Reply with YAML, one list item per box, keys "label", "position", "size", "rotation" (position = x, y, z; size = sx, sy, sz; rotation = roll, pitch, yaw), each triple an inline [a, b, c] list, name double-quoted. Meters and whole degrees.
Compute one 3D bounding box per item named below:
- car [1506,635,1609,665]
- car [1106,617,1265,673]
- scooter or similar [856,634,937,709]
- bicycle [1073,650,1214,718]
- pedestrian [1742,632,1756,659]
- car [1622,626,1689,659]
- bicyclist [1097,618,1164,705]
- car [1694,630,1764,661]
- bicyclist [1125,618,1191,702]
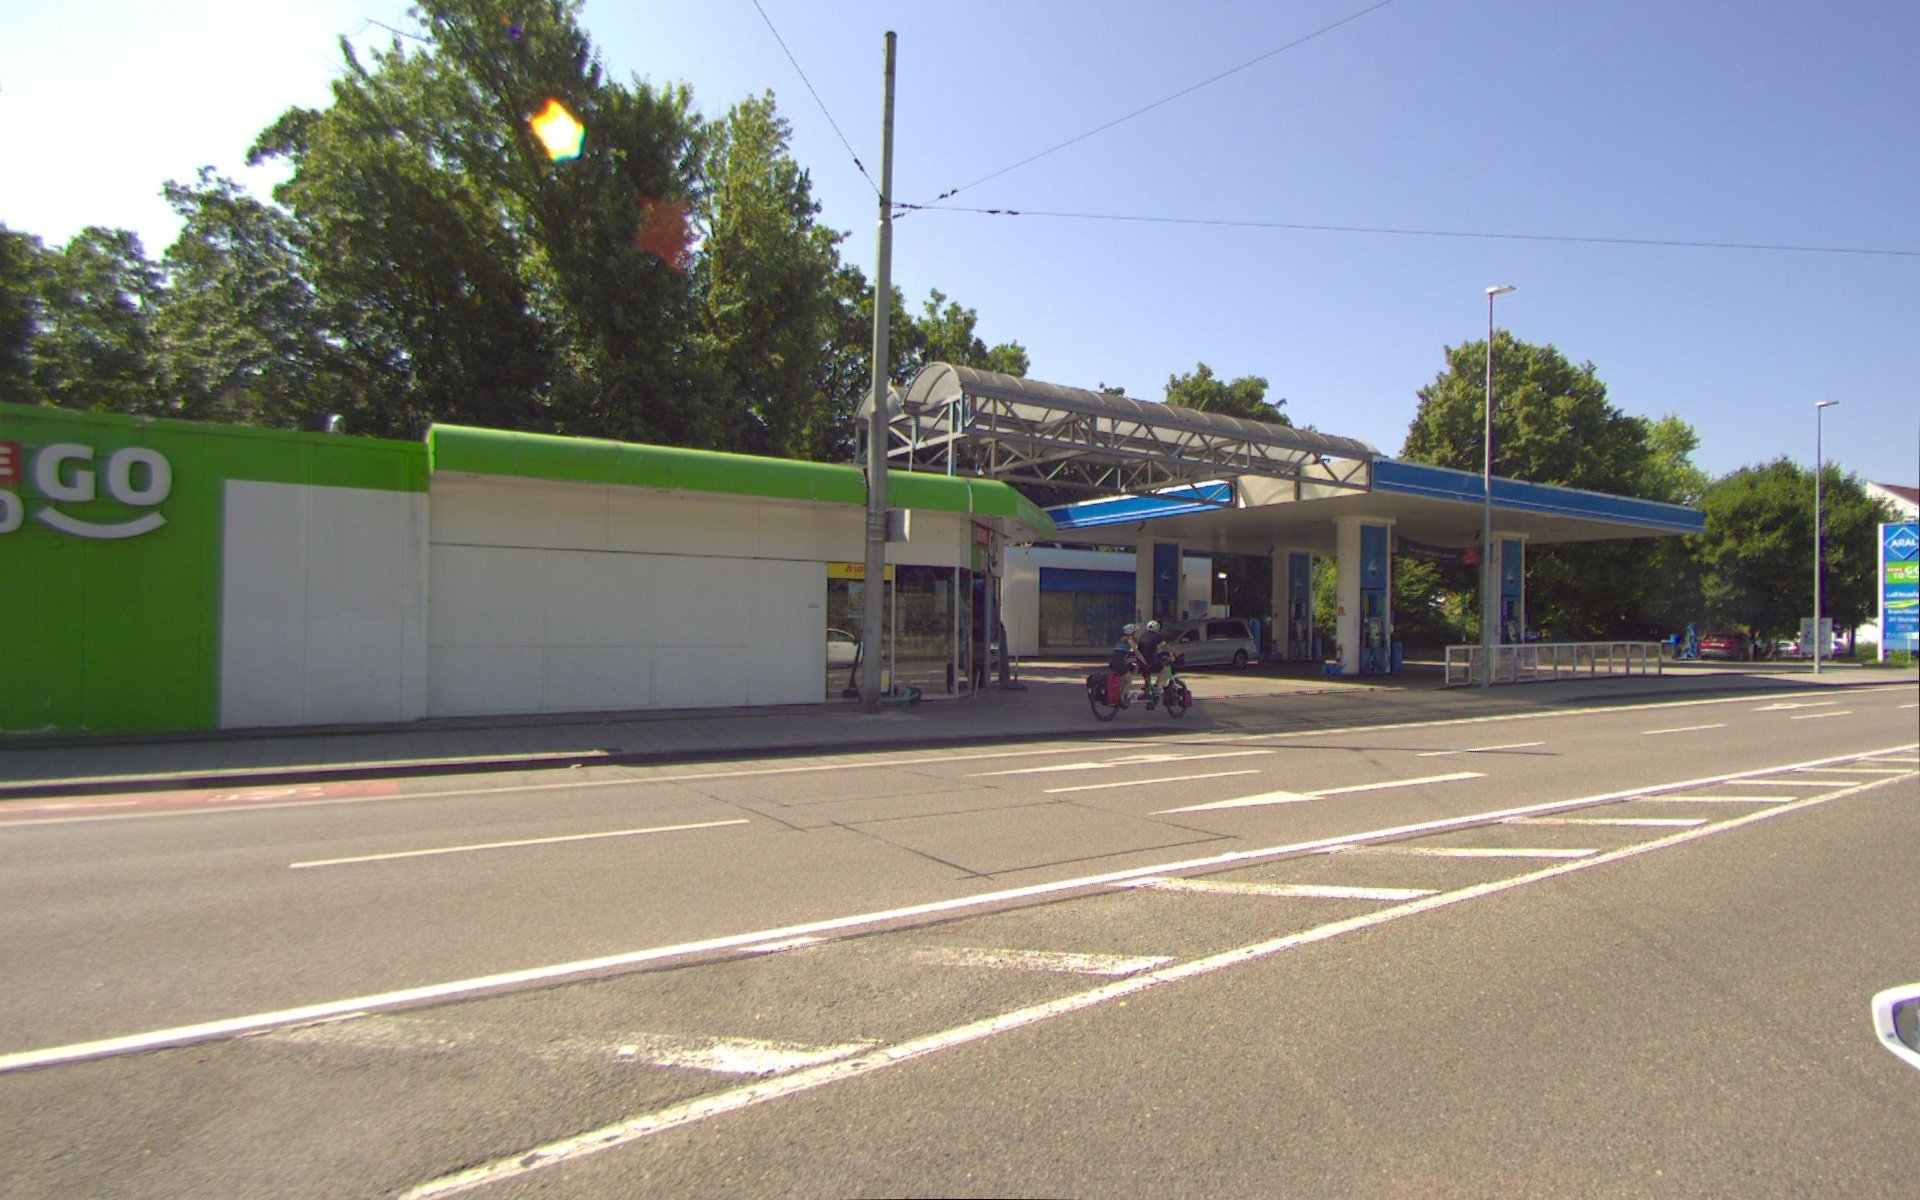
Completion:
- label: "car"
  position: [29.075, 2.425, 48.927]
  size: [4.166, 1.363, 1.803]
  rotation: [1, -1, -10]
- label: "car"
  position: [7.860, 1.524, 34.666]
  size: [5.902, 1.805, 1.833]
  rotation: [1, -1, -34]
- label: "scooter or similar"
  position: [-1.102, 1.233, 17.523]
  size: [1.326, 1.253, 0.440]
  rotation: [1, -1, -23]
- label: "bicycle"
  position: [3.327, 1.467, 18.013]
  size: [2.745, 1.109, 0.820]
  rotation: [2, -1, -36]
- label: "pedestrian"
  position: [44.525, 2.545, 56.665]
  size: [0.495, 1.501, 0.496]
  rotation: [1, -1, -32]
- label: "car"
  position: [55.422, 3.358, 80.122]
  size: [1.760, 2.571, 4.170]
  rotation: [1, -2, -19]
- label: "bicyclist"
  position: [2.997, 1.059, 17.689]
  size: [0.824, 1.455, 0.841]
  rotation: [0, 1, -35]
- label: "car"
  position: [43.716, 2.532, 57.049]
  size: [4.469, 1.591, 1.789]
  rotation: [0, -1, -33]
- label: "bicyclist"
  position: [3.571, 1.054, 18.126]
  size: [0.824, 1.455, 0.841]
  rotation: [0, 0, -35]
